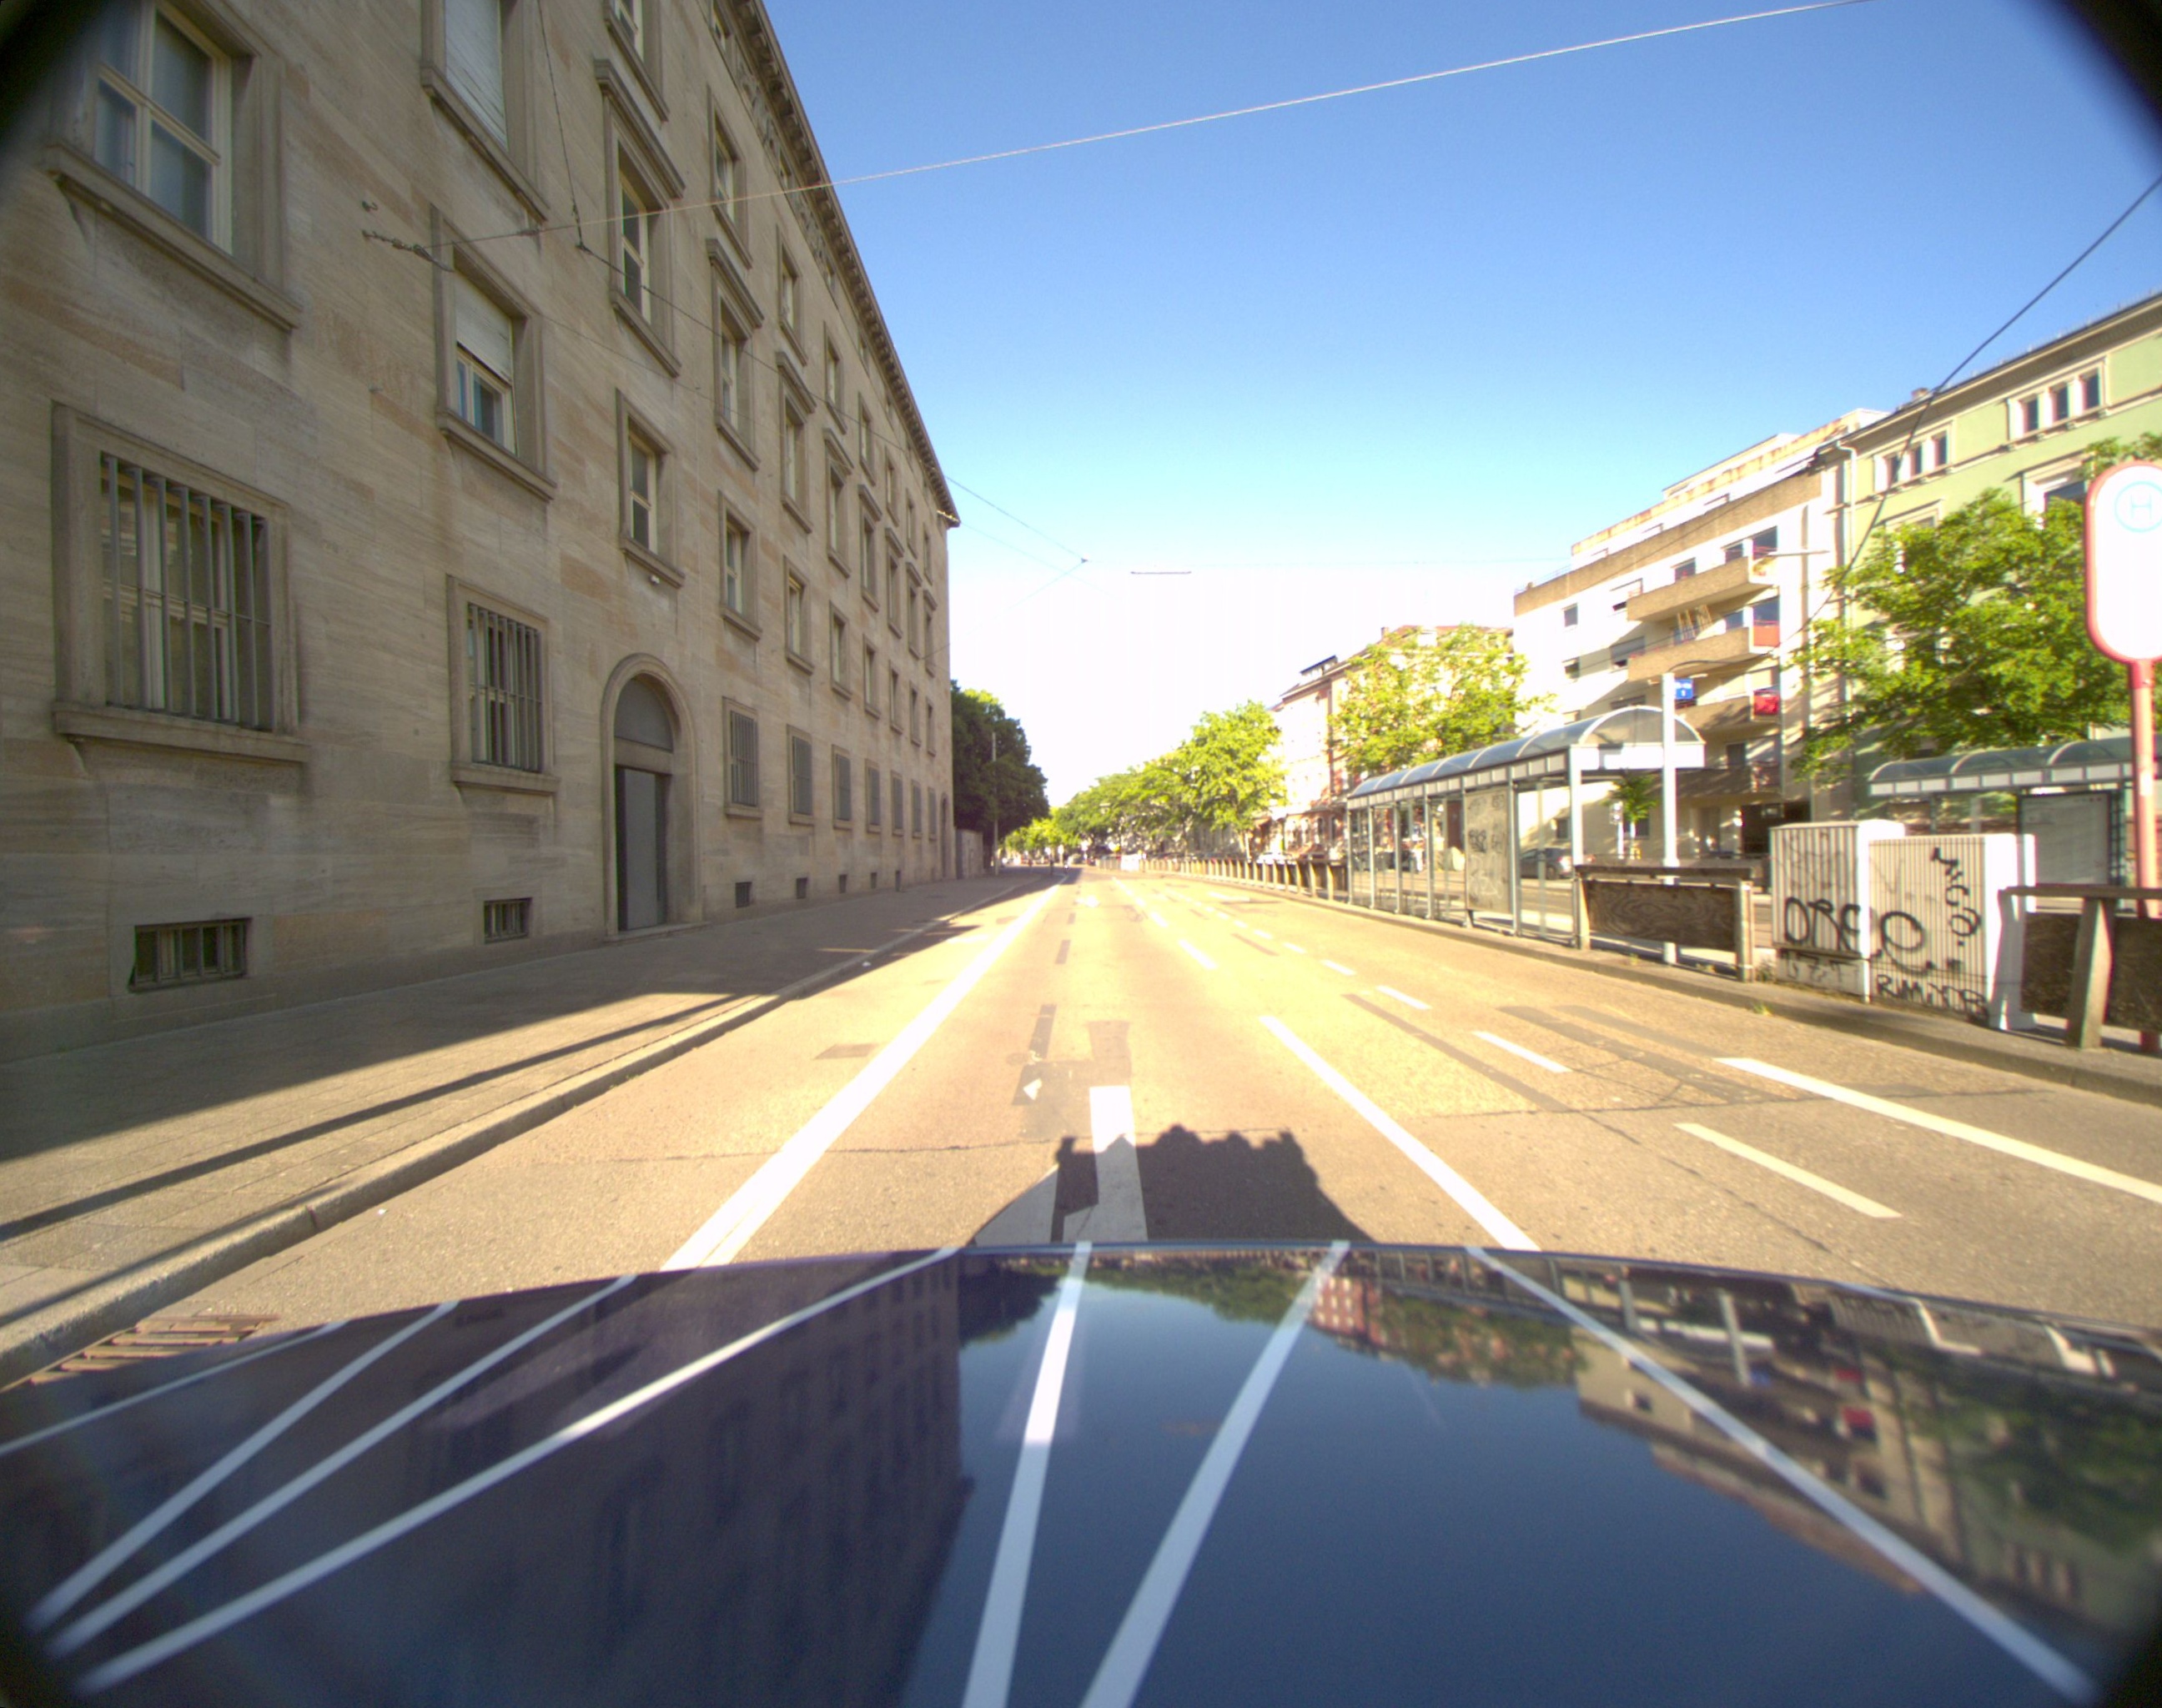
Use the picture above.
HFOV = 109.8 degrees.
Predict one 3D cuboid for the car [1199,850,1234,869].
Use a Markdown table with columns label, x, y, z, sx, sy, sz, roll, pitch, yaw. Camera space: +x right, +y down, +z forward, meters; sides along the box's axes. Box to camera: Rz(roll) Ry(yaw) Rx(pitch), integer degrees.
| label | x | y | z | sx | sy | sz | roll | pitch | yaw |
| --- | --- | --- | --- | --- | --- | --- | --- | --- | --- |
| car | 10.815 | 0.438 | 60.797 | 1.648 | 1.480 | 3.997 | -1 | 0 | -7 |

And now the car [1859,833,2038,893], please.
| label | x | y | z | sx | sy | sz | roll | pitch | yaw |
| --- | --- | --- | --- | --- | --- | --- | --- | --- | --- |
| car | 24.853 | 0.220 | 21.802 | 4.002 | 1.573 | 1.761 | -1 | 0 | -14 |

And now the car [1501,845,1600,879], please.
| label | x | y | z | sx | sy | sz | roll | pitch | yaw |
| --- | --- | --- | --- | --- | --- | --- | --- | --- | --- |
| car | 20.926 | 0.347 | 34.017 | 1.654 | 1.419 | 3.737 | -1 | 0 | -11 |

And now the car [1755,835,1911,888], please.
| label | x | y | z | sx | sy | sz | roll | pitch | yaw |
| --- | --- | --- | --- | --- | --- | --- | --- | --- | --- |
| car | 24.054 | 0.223 | 24.343 | 4.002 | 1.573 | 1.761 | -1 | 0 | -14 |

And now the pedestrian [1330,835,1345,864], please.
| label | x | y | z | sx | sy | sz | roll | pitch | yaw |
| --- | --- | --- | --- | --- | --- | --- | --- | --- | --- |
| pedestrian | 19.501 | -0.329 | 57.773 | 0.813 | 2.194 | 0.756 | -1 | 1 | -10 |

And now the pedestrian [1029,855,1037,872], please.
| label | x | y | z | sx | sy | sz | roll | pitch | yaw |
| --- | --- | --- | --- | --- | --- | --- | --- | --- | --- |
| pedestrian | -3.726 | 0.754 | 58.939 | 0.548 | 1.327 | 0.587 | -1 | 1 | 7 |

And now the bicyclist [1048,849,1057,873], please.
| label | x | y | z | sx | sy | sz | roll | pitch | yaw |
| --- | --- | --- | --- | --- | --- | --- | --- | --- | --- |
| bicyclist | -2.162 | 0.536 | 57.699 | 0.625 | 1.729 | 0.688 | -3 | 1 | 1 |

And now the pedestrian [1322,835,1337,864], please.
| label | x | y | z | sx | sy | sz | roll | pitch | yaw |
| --- | --- | --- | --- | --- | --- | --- | --- | --- | --- |
| pedestrian | 19.387 | -0.341 | 59.269 | 0.812 | 2.194 | 0.756 | -1 | 1 | -4 |

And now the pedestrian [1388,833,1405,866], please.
| label | x | y | z | sx | sy | sz | roll | pitch | yaw |
| --- | --- | --- | --- | --- | --- | --- | --- | --- | --- |
| pedestrian | 21.345 | -0.276 | 51.411 | 0.813 | 2.194 | 0.756 | -1 | 1 | -10 |

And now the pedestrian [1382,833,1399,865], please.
| label | x | y | z | sx | sy | sz | roll | pitch | yaw |
| --- | --- | --- | --- | --- | --- | --- | --- | --- | --- |
| pedestrian | 21.336 | -0.339 | 52.368 | 0.813 | 2.194 | 0.756 | -1 | 1 | -10 |

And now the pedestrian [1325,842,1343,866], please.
| label | x | y | z | sx | sy | sz | roll | pitch | yaw |
| --- | --- | --- | --- | --- | --- | --- | --- | --- | --- |
| pedestrian | 18.472 | 0.000 | 55.437 | 0.855 | 1.710 | 1.019 | -1 | 1 | -8 |

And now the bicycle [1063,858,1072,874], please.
| label | x | y | z | sx | sy | sz | roll | pitch | yaw |
| --- | --- | --- | --- | --- | --- | --- | --- | --- | --- |
| bicycle | -0.996 | 0.914 | 57.560 | 0.625 | 1.167 | 1.566 | 0 | 0 | 1 |

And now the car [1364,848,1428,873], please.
| label | x | y | z | sx | sy | sz | roll | pitch | yaw |
| --- | --- | --- | --- | --- | --- | --- | --- | --- | --- |
| car | 18.437 | 0.371 | 44.698 | 1.609 | 1.388 | 3.997 | -1 | 0 | -9 |

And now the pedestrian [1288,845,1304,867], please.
| label | x | y | z | sx | sy | sz | roll | pitch | yaw |
| --- | --- | --- | --- | --- | --- | --- | --- | --- | --- |
| pedestrian | 16.431 | 0.148 | 57.981 | 0.868 | 1.619 | 0.891 | -1 | 1 | -10 |

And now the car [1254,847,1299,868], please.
| label | x | y | z | sx | sy | sz | roll | pitch | yaw |
| --- | --- | --- | --- | --- | --- | --- | --- | --- | --- |
| car | 16.401 | 0.257 | 63.637 | 4.134 | 1.698 | 1.848 | -1 | 1 | -45 |

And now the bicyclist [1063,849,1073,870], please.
| label | x | y | z | sx | sy | sz | roll | pitch | yaw |
| --- | --- | --- | --- | --- | --- | --- | --- | --- | --- |
| bicyclist | -0.987 | 0.409 | 57.629 | 0.728 | 1.570 | 0.775 | 0 | 1 | 1 |

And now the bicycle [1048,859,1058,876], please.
| label | x | y | z | sx | sy | sz | roll | pitch | yaw |
| --- | --- | --- | --- | --- | --- | --- | --- | --- | --- |
| bicycle | -2.135 | 0.983 | 57.843 | 0.625 | 1.214 | 1.659 | -3 | 1 | 1 |
